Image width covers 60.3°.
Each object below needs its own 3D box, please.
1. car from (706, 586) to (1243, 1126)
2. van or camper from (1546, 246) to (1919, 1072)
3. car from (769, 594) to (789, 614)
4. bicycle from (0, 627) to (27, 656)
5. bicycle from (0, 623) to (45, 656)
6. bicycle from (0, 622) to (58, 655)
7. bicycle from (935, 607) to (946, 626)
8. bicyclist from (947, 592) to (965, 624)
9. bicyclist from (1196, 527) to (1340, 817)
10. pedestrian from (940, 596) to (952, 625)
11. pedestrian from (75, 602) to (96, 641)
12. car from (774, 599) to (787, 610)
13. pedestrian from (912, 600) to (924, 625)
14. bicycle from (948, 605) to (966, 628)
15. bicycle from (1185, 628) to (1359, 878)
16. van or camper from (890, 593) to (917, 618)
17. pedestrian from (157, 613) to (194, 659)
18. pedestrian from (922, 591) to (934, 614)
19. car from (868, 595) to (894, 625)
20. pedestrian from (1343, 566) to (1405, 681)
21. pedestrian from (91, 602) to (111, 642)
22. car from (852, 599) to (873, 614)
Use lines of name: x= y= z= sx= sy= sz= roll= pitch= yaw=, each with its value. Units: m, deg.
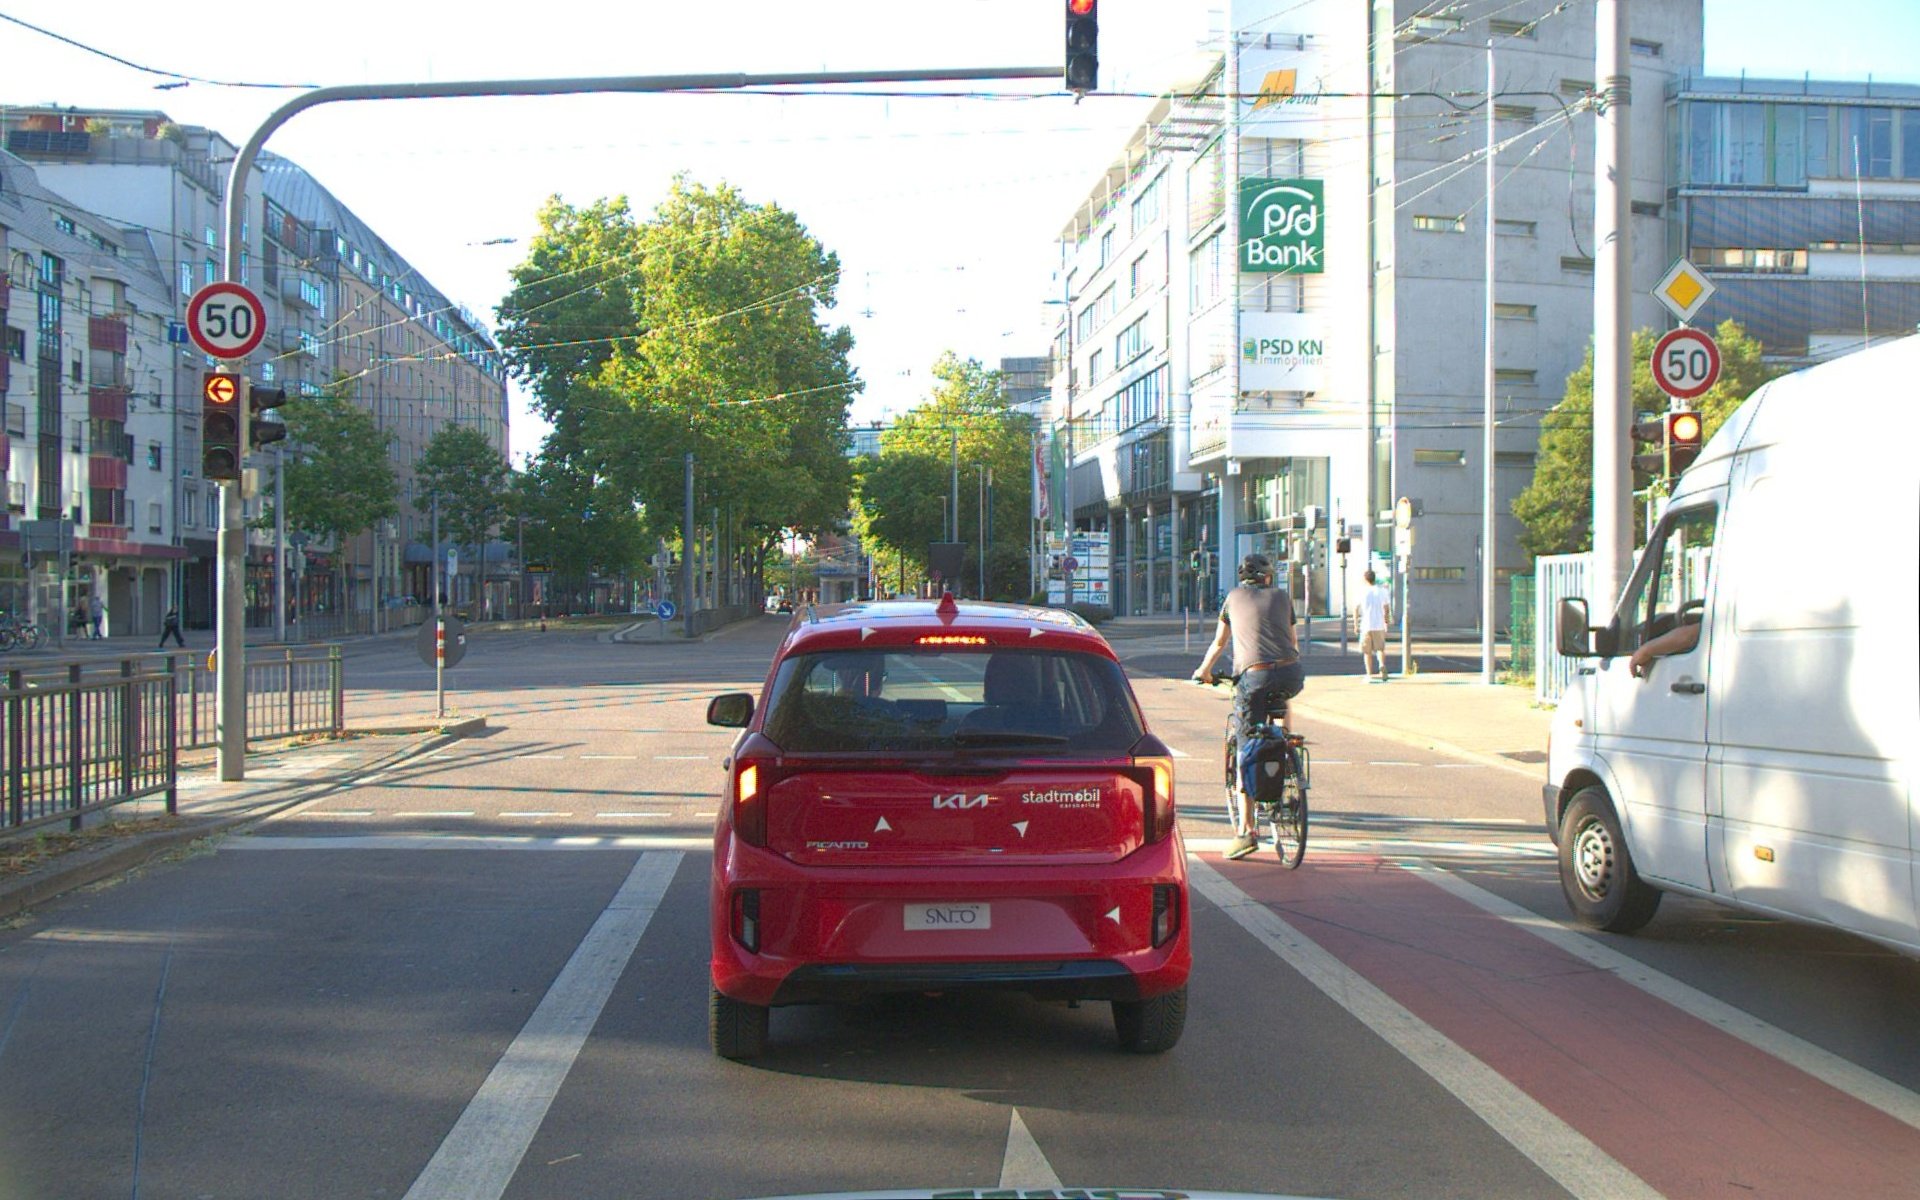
car: x=-0.097 y=0.741 z=6.569 sx=1.582 sy=1.561 sz=3.408 roll=0 pitch=0 yaw=-5
van or camper: x=4.189 y=0.204 z=5.428 sx=1.930 sy=2.763 sz=6.300 roll=1 pitch=0 yaw=-4
car: x=-19.149 y=0.450 z=175.180 sx=1.956 sy=2.049 sz=3.992 roll=0 pitch=0 yaw=-8
bicycle: x=-29.448 y=1.262 z=50.277 sx=1.806 sy=0.869 sz=0.553 roll=0 pitch=0 yaw=-4
bicycle: x=-29.598 y=1.222 z=51.541 sx=1.808 sy=1.002 sz=0.552 roll=0 pitch=0 yaw=-8
bicycle: x=-29.540 y=1.207 z=52.158 sx=1.808 sy=1.002 sz=0.552 roll=0 pitch=0 yaw=-8
bicycle: x=-1.135 y=0.929 z=95.744 sx=0.510 sy=0.991 sz=2.201 roll=-4 pitch=1 yaw=0
bicyclist: x=-0.205 y=0.400 z=85.673 sx=0.708 sy=1.631 sz=1.087 roll=-3 pitch=0 yaw=-7
bicyclist: x=1.821 y=0.405 z=9.905 sx=0.637 sy=1.631 sz=1.088 roll=-1 pitch=0 yaw=-1
pedestrian: x=-0.811 y=0.611 z=95.866 sx=0.633 sy=1.710 sz=0.651 roll=-1 pitch=0 yaw=-1
pedestrian: x=-34.093 y=0.845 z=64.473 sx=0.524 sy=1.520 sz=0.586 roll=-1 pitch=0 yaw=-9
car: x=-27.780 y=0.674 z=255.397 sx=1.745 sy=1.561 sz=3.403 roll=0 pitch=0 yaw=-10
pedestrian: x=-2.874 y=0.856 z=112.860 sx=0.628 sy=1.607 sz=0.724 roll=-4 pitch=0 yaw=8
bicycle: x=-0.174 y=0.863 z=85.755 sx=0.683 sy=1.117 sz=1.748 roll=-4 pitch=1 yaw=-7
bicycle: x=1.820 y=0.846 z=9.929 sx=0.637 sy=1.303 sz=1.965 roll=-1 pitch=0 yaw=-1
van or camper: x=-4.540 y=0.437 z=132.213 sx=1.954 sy=2.024 sz=4.740 roll=0 pitch=0 yaw=-4
pedestrian: x=-27.485 y=1.251 z=57.948 sx=1.025 sy=1.571 sz=0.694 roll=-1 pitch=0 yaw=25
pedestrian: x=-2.530 y=0.194 z=130.970 sx=0.873 sy=1.783 sz=0.841 roll=0 pitch=0 yaw=-1
car: x=-5.017 y=0.627 z=104.856 sx=1.603 sy=1.831 sz=3.327 roll=-1 pitch=0 yaw=-3
pedestrian: x=6.828 y=0.381 z=27.321 sx=0.761 sy=1.855 sz=1.216 roll=-1 pitch=0 yaw=4
pedestrian: x=-33.533 y=0.855 z=64.579 sx=0.524 sy=1.520 sz=0.586 roll=-1 pitch=0 yaw=-9
car: x=-10.074 y=0.637 z=170.744 sx=1.745 sy=1.561 sz=3.504 roll=0 pitch=0 yaw=-10
